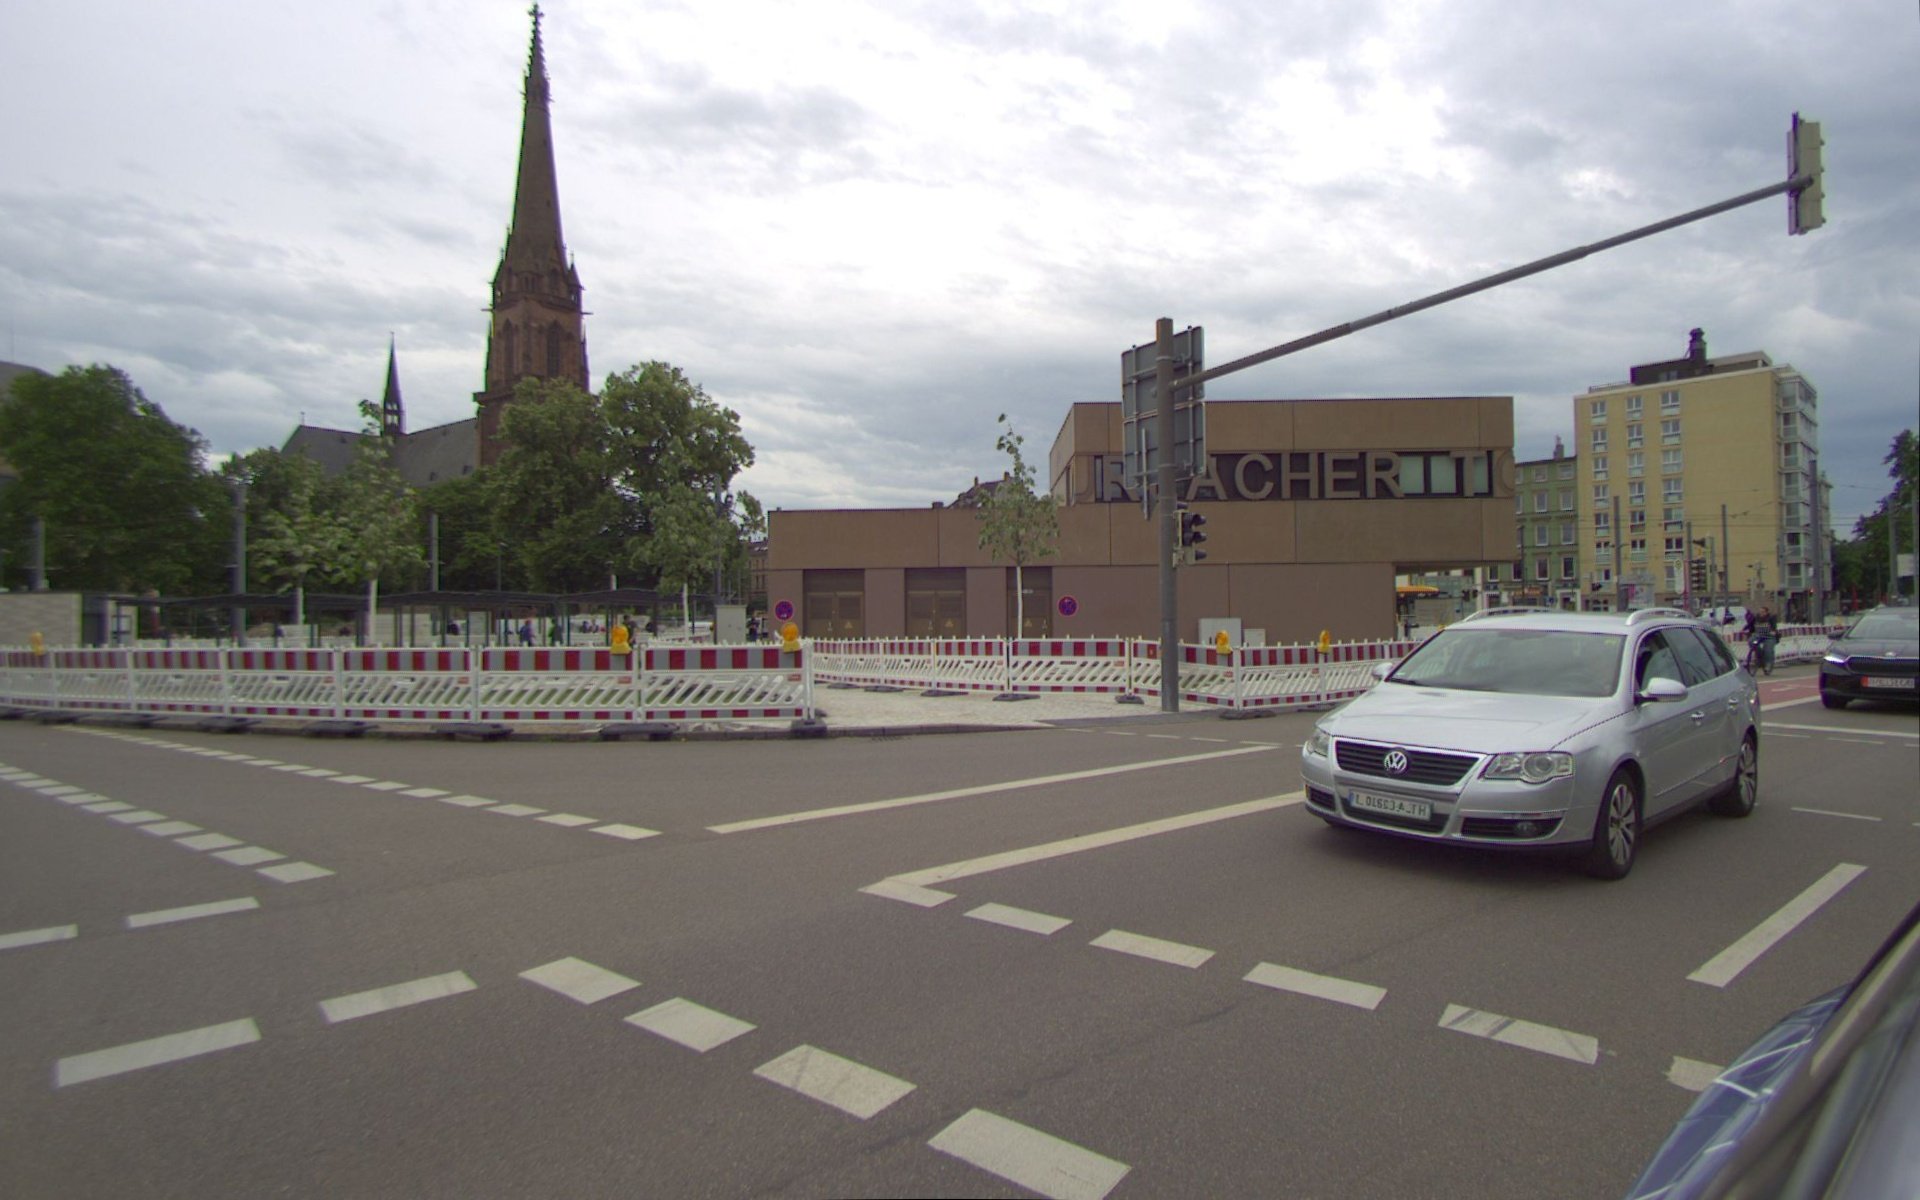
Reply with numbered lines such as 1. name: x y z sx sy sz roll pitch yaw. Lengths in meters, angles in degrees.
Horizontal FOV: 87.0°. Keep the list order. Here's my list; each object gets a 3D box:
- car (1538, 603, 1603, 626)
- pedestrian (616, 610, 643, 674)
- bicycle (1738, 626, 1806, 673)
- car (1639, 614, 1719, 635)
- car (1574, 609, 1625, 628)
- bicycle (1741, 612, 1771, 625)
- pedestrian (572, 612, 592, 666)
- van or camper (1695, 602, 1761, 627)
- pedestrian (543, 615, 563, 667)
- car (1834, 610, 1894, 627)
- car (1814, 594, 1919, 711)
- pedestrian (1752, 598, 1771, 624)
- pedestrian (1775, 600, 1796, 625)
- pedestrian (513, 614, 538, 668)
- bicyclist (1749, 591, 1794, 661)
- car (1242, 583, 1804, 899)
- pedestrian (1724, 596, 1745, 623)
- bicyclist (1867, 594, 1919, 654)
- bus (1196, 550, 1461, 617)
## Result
1. car: 48.963 1.144 81.204 1.964 1.772 3.995 0 -1 -39
2. pedestrian: -9.702 1.218 29.717 0.634 1.855 0.457 0 -1 2
3. bicycle: 20.253 1.216 25.219 2.084 1.068 0.627 0 -1 -31
4. car: 53.316 1.789 75.096 1.964 1.505 4.439 0 -1 -39
5. car: 57.191 1.650 90.581 1.853 1.602 3.742 -1 -1 -6
6. bicycle: 70.417 1.630 89.569 0.659 1.184 2.034 1 -1 -45
7. pedestrian: -12.789 1.311 34.219 0.584 1.828 0.642 0 -2 -24
8. van or camper: 64.192 1.215 84.707 2.138 2.004 5.447 -1 -1 11
9. pedestrian: -13.610 1.373 33.844 0.588 1.710 0.604 0 -2 -24
10. car: 82.122 1.666 92.003 3.982 1.483 1.970 -1 -1 41
11. car: 15.408 0.763 16.095 4.432 1.679 1.908 0 -1 -38
12. pedestrian: 54.620 0.751 68.979 0.780 1.779 1.039 0 -1 26
13. pedestrian: 52.968 0.804 64.959 0.776 1.623 0.889 -1 -1 25
14. pedestrian: -14.416 1.344 33.609 0.749 1.784 0.699 0 -2 -23
15. bicyclist: 20.229 0.638 25.230 0.790 1.712 0.618 1 -2 -30
16. car: 4.037 0.677 6.906 4.543 1.501 1.725 0 0 -38
17. pedestrian: 47.895 0.607 62.580 0.776 1.664 0.896 -1 -1 25
18. bicyclist: 26.252 0.678 28.352 0.913 1.639 0.792 0 -3 -15
19. bus: 19.296 -0.831 53.685 12.804 3.310 3.023 -1 -1 3
